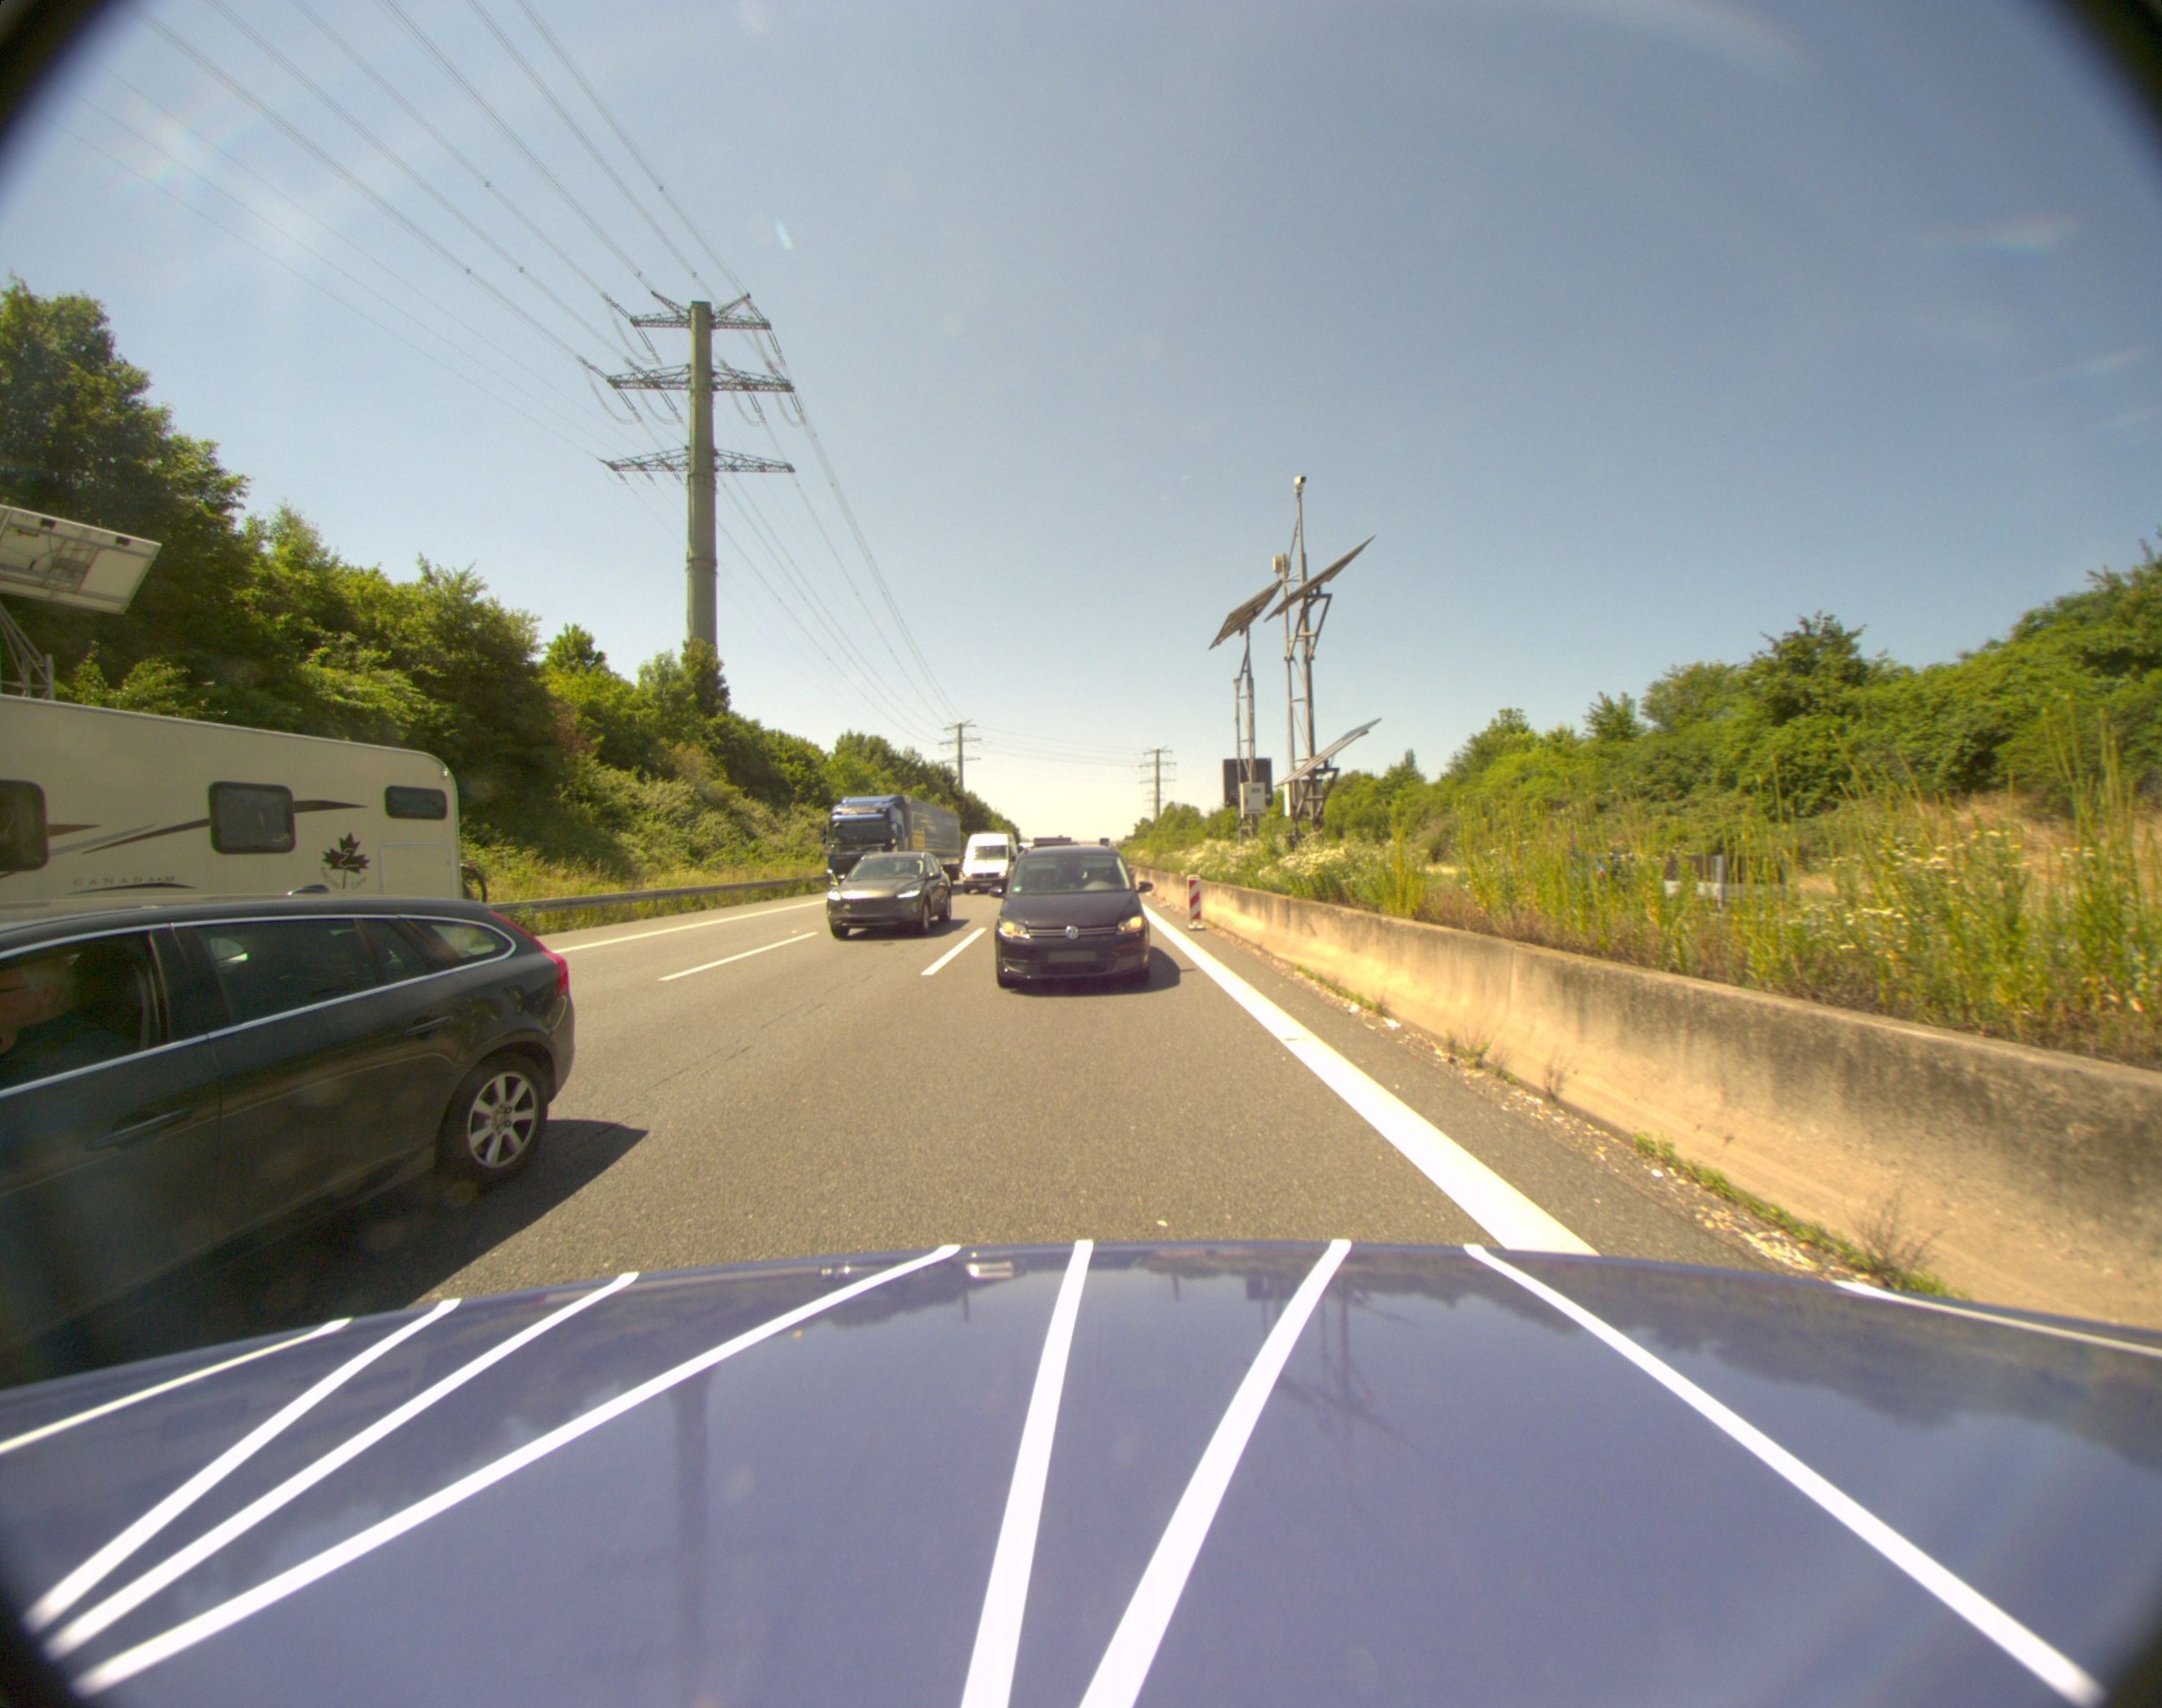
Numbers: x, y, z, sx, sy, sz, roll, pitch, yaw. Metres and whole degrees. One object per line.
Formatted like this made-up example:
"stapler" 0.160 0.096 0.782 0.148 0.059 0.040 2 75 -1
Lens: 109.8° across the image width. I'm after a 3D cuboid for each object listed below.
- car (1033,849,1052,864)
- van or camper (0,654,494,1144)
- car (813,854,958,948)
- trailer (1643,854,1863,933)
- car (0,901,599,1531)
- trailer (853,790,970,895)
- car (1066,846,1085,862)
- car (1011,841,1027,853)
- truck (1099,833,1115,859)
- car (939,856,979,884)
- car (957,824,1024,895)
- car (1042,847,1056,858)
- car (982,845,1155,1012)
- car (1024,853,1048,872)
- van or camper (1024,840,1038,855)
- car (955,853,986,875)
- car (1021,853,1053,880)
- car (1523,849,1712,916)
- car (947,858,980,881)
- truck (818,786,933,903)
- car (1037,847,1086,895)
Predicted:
"car" -4.228 0.304 84.157 1.720 1.510 3.873 -2 1 1
"van or camper" -7.865 0.313 4.678 2.375 3.026 7.631 -2 1 0
"car" -3.911 0.856 15.986 1.893 1.602 4.219 -2 1 0
"trailer" 14.870 0.796 17.125 1.572 1.543 3.779 1 0 0
"car" -3.647 1.036 2.011 1.799 1.411 4.509 -2 1 0
"trailer" -7.938 -0.557 37.876 2.774 4.239 12.876 -2 1 0
"car" -0.582 -0.022 83.802 1.973 1.682 3.873 -2 1 1
"car" -8.098 -0.922 99.541 1.720 1.510 3.873 -2 1 1
"truck" 3.421 -1.093 101.292 1.892 3.264 5.590 -2 1 1
"car" -7.505 0.965 46.944 1.720 1.510 3.873 -2 1 1
"car" -3.821 0.169 33.398 2.042 2.703 6.704 -2 1 0
"car" -4.490 -0.202 106.175 1.720 1.510 3.873 -2 1 1
"car" -0.126 0.741 9.890 1.700 1.641 4.219 -2 1 0
"car" -3.930 0.737 66.606 1.720 1.510 3.873 -2 1 1
"van or camper" -8.583 -1.156 131.275 1.979 2.511 4.369 -2 1 1
"car" -8.757 0.773 60.480 1.720 1.510 3.873 -2 1 1
"car" -2.755 0.742 48.237 1.720 1.510 3.873 -2 1 1
"car" 14.816 0.698 21.393 1.998 1.640 4.629 1 0 0
"car" -8.652 1.122 56.322 1.720 1.510 3.873 -2 1 1
"truck" -7.951 -0.375 30.181 2.792 4.121 5.636 -2 1 0
"car" -0.694 0.585 29.601 1.700 1.641 4.219 -2 1 0
